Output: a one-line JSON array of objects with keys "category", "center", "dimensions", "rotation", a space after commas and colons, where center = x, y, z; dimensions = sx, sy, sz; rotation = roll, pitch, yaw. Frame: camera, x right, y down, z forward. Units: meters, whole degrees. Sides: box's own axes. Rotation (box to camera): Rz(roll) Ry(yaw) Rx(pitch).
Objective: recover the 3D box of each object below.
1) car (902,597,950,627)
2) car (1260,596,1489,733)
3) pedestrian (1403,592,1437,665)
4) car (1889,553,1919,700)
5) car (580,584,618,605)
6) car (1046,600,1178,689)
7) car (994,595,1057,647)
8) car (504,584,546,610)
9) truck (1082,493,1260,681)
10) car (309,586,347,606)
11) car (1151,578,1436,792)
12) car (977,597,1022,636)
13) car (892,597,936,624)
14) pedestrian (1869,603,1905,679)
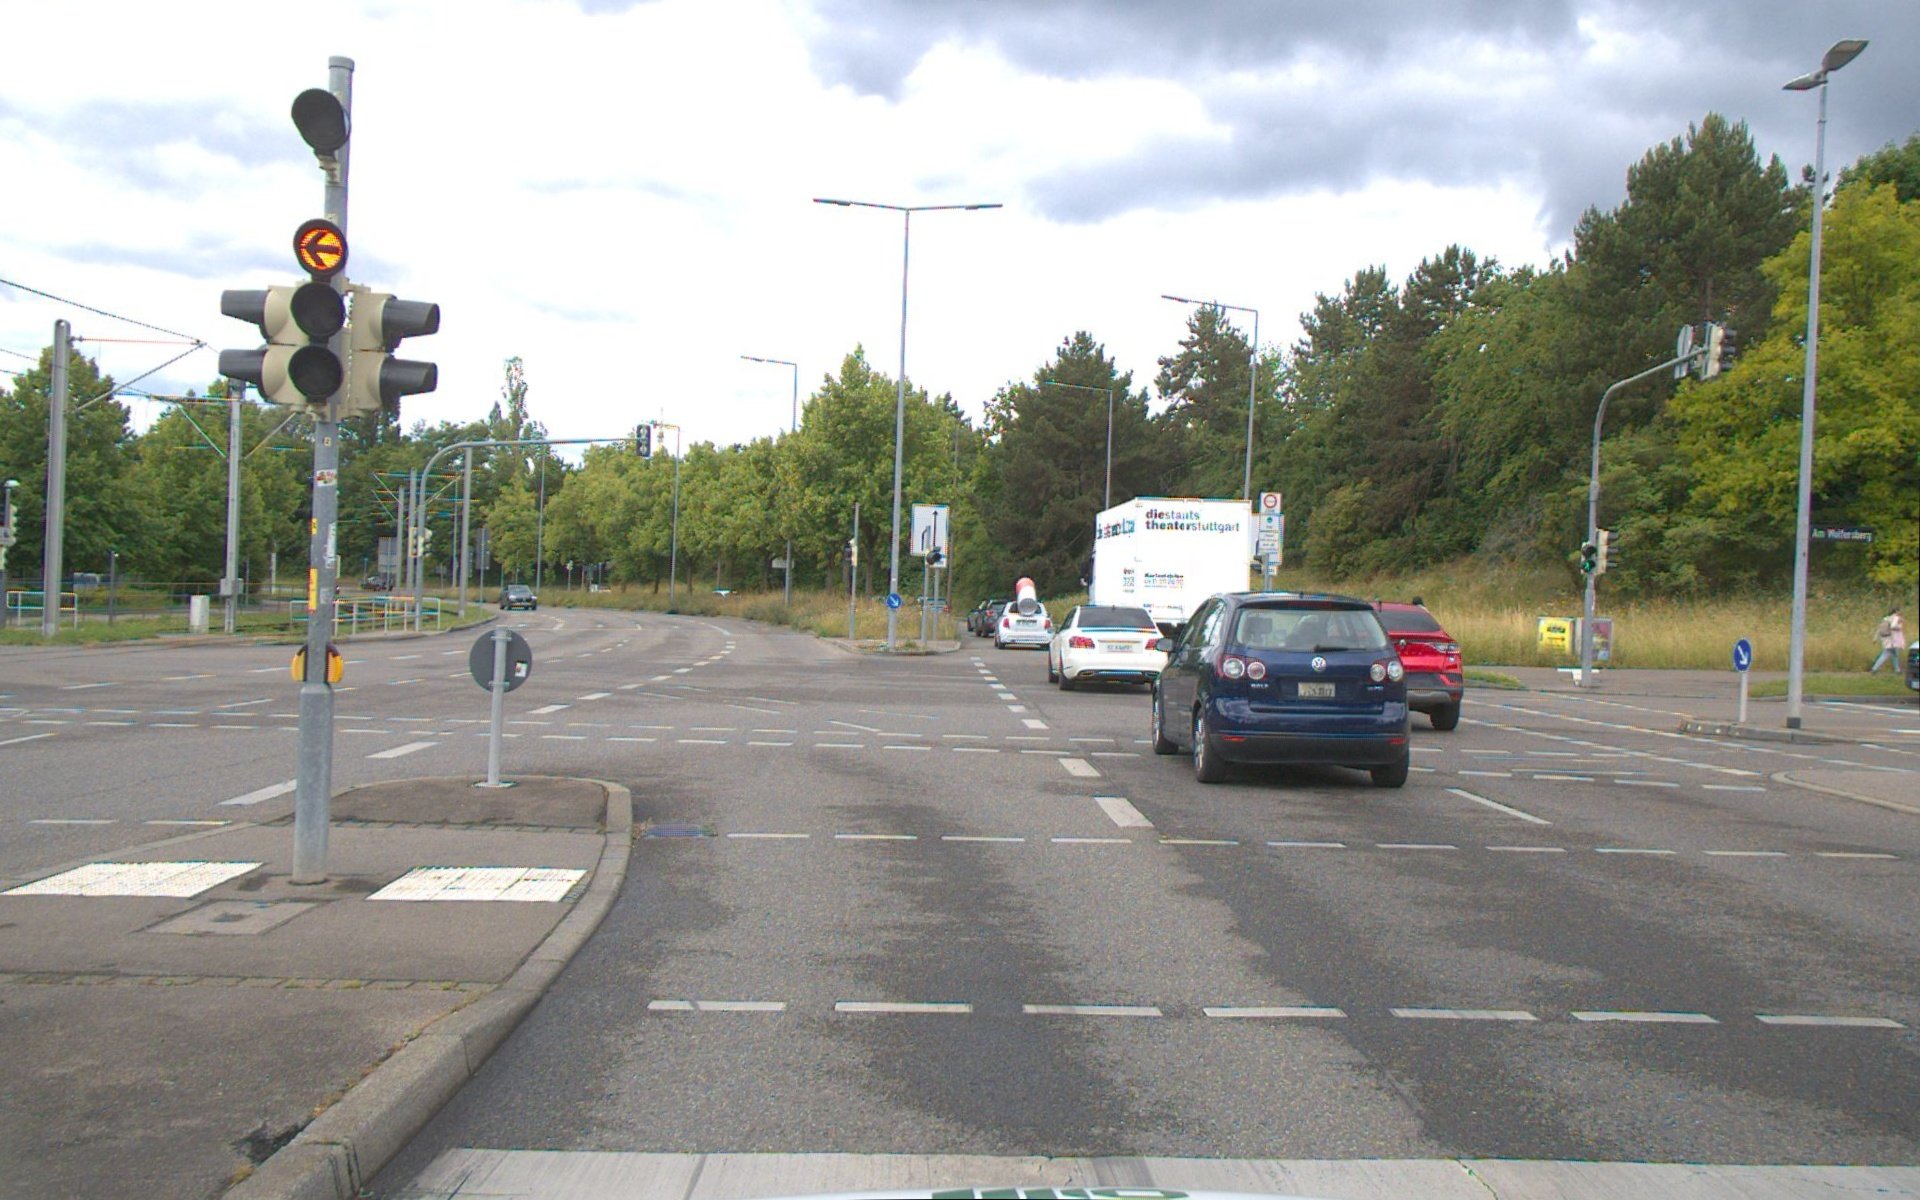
[{"category": "car", "center": [-1.855, 0.623, 88.920], "dimensions": [1.717, 1.534, 4.032], "rotation": [1, 0, -15]}, {"category": "car", "center": [5.282, 0.750, 21.670], "dimensions": [1.809, 1.556, 4.376], "rotation": [1, 0, -1]}, {"category": "pedestrian", "center": [10.781, 0.664, 38.796], "dimensions": [0.630, 1.691, 0.714], "rotation": [1, -1, 6]}, {"category": "car", "center": [20.305, 0.537, 30.065], "dimensions": [5.685, 2.676, 2.000], "rotation": [1, -1, 1]}, {"category": "car", "center": [-31.234, -0.463, 143.152], "dimensions": [1.617, 1.741, 3.749], "rotation": [1, -1, -40]}, {"category": "car", "center": [2.609, 0.739, 29.243], "dimensions": [1.763, 1.436, 4.315], "rotation": [1, 0, -2]}, {"category": "car", "center": [1.985, 0.631, 50.916], "dimensions": [1.784, 1.532, 3.494], "rotation": [1, 0, 0]}, {"category": "car", "center": [-28.333, -0.210, 107.664], "dimensions": [1.774, 1.615, 3.964], "rotation": [1, 0, -27]}, {"category": "truck", "center": [4.884, -0.333, 40.422], "dimensions": [2.746, 3.971, 10.179], "rotation": [1, 1, -1]}, {"category": "car", "center": [-57.471, -0.382, 150.357], "dimensions": [1.863, 1.823, 3.934], "rotation": [1, -1, -45]}, {"category": "car", "center": [2.808, 0.667, 14.758], "dimensions": [1.631, 1.626, 3.995], "rotation": [1, 0, -1]}, {"category": "car", "center": [1.577, 0.646, 67.054], "dimensions": [1.591, 1.519, 3.836], "rotation": [1, 0, -2]}, {"category": "car", "center": [-2.842, 0.629, 100.946], "dimensions": [1.718, 1.534, 3.981], "rotation": [1, 0, -17]}, {"category": "pedestrian", "center": [20.269, 0.889, 36.160], "dimensions": [0.631, 1.640, 0.713], "rotation": [1, -1, 26]}]
